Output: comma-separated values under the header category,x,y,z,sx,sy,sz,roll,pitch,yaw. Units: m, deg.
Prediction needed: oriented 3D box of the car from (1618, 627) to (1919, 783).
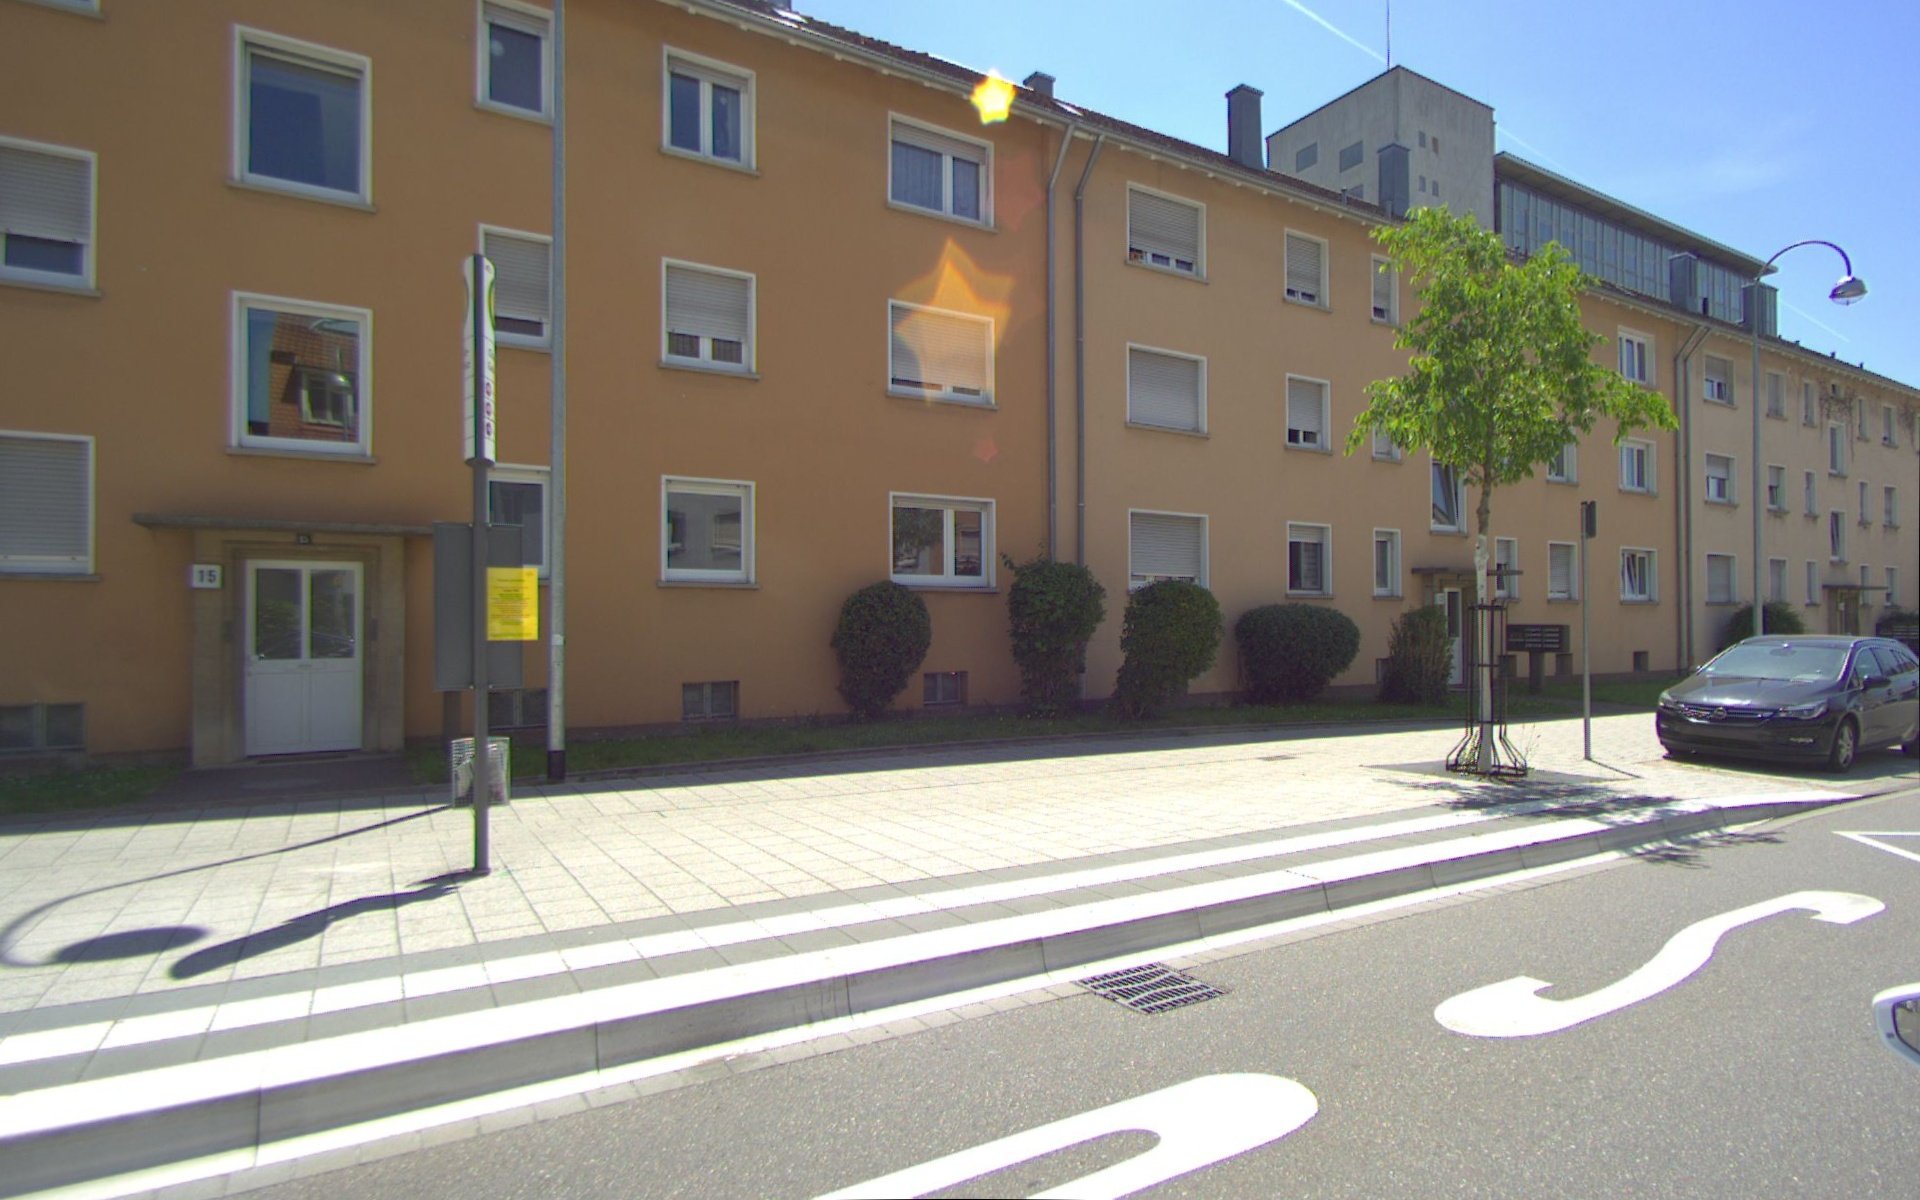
category,x,y,z,sx,sy,sz,roll,pitch,yaw
car,10.254,1.140,12.419,4.512,1.527,1.847,1,1,-32
